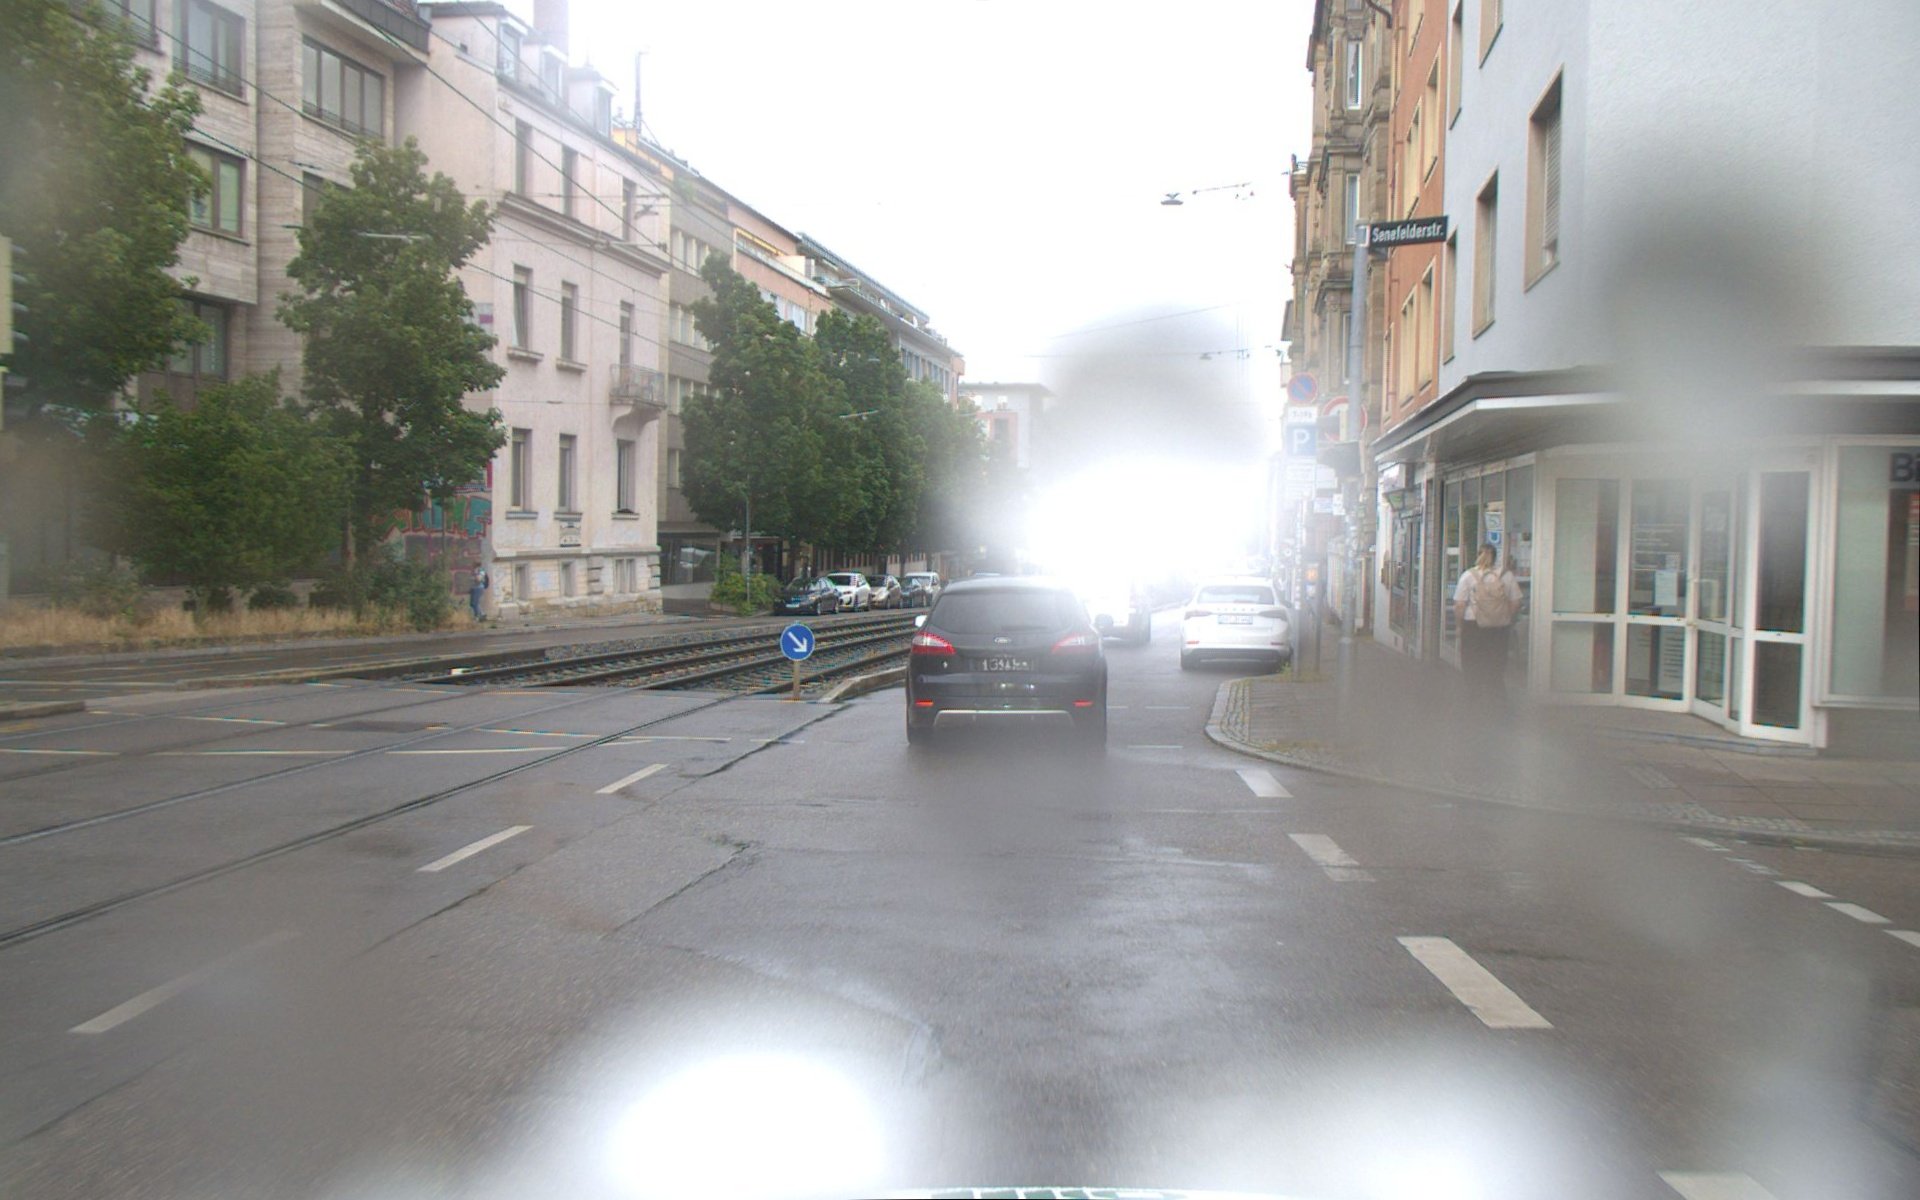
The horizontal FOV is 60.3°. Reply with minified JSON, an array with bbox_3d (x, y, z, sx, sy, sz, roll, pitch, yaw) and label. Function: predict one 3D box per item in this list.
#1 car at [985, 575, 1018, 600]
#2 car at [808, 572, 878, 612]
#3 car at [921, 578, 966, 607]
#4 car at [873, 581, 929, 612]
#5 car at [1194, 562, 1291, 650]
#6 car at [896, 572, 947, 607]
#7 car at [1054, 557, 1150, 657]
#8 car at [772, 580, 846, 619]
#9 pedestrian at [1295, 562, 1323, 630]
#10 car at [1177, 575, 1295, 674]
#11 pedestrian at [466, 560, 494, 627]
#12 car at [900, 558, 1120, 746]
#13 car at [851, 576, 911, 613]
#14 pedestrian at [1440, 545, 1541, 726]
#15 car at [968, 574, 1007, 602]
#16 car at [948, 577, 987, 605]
[{"bbox_3d":[2.964,-0.887,116.974,1.659,1.601,4.049,2,-1,10],"label":"car"},{"bbox_3d":[-4.948,-0.320,70.730,1.816,1.576,4.724,2,0,10],"label":"car"},{"bbox_3d":[-0.908,-0.402,93.983,1.816,1.553,4.049,2,0,10],"label":"car"},{"bbox_3d":[-2.896,-0.148,82.098,1.816,1.443,4.435,-1,-1,10],"label":"car"},{"bbox_3d":[5.854,0.137,34.135,1.806,1.661,4.590,1,0,10],"label":"car"},{"bbox_3d":[-2.009,-0.528,88.184,1.816,1.730,4.435,2,-1,10],"label":"car"},{"bbox_3d":[3.286,0.104,37.488,1.946,2.096,4.649,1,1,7],"label":"car"},{"bbox_3d":[-5.863,0.001,64.812,1.657,1.401,4.724,2,-1,10],"label":"car"},{"bbox_3d":[9.754,-0.124,46.206,0.688,1.851,0.962,-2,1,10],"label":"pedestrian"},{"bbox_3d":[4.575,0.385,27.217,1.763,1.481,4.590,0,-1,10],"label":"car"},{"bbox_3d":[-12.333,-0.157,42.504,0.458,1.681,0.582,3,-1,-2],"label":"pedestrian"},{"bbox_3d":[0.409,0.446,15.640,1.805,1.533,4.000,0,-1,0],"label":"car"},{"bbox_3d":[-3.636,-0.233,77.110,1.816,1.576,4.435,2,0,10],"label":"car"},{"bbox_3d":[4.822,0.316,15.071,0.674,1.599,0.763,0,-1,-1],"label":"pedestrian"},{"bbox_3d":[1.864,-0.773,110.278,1.816,1.665,4.939,2,0,10],"label":"car"},{"bbox_3d":[0.482,-0.516,100.781,1.632,1.585,4.049,2,-1,10],"label":"car"}]
